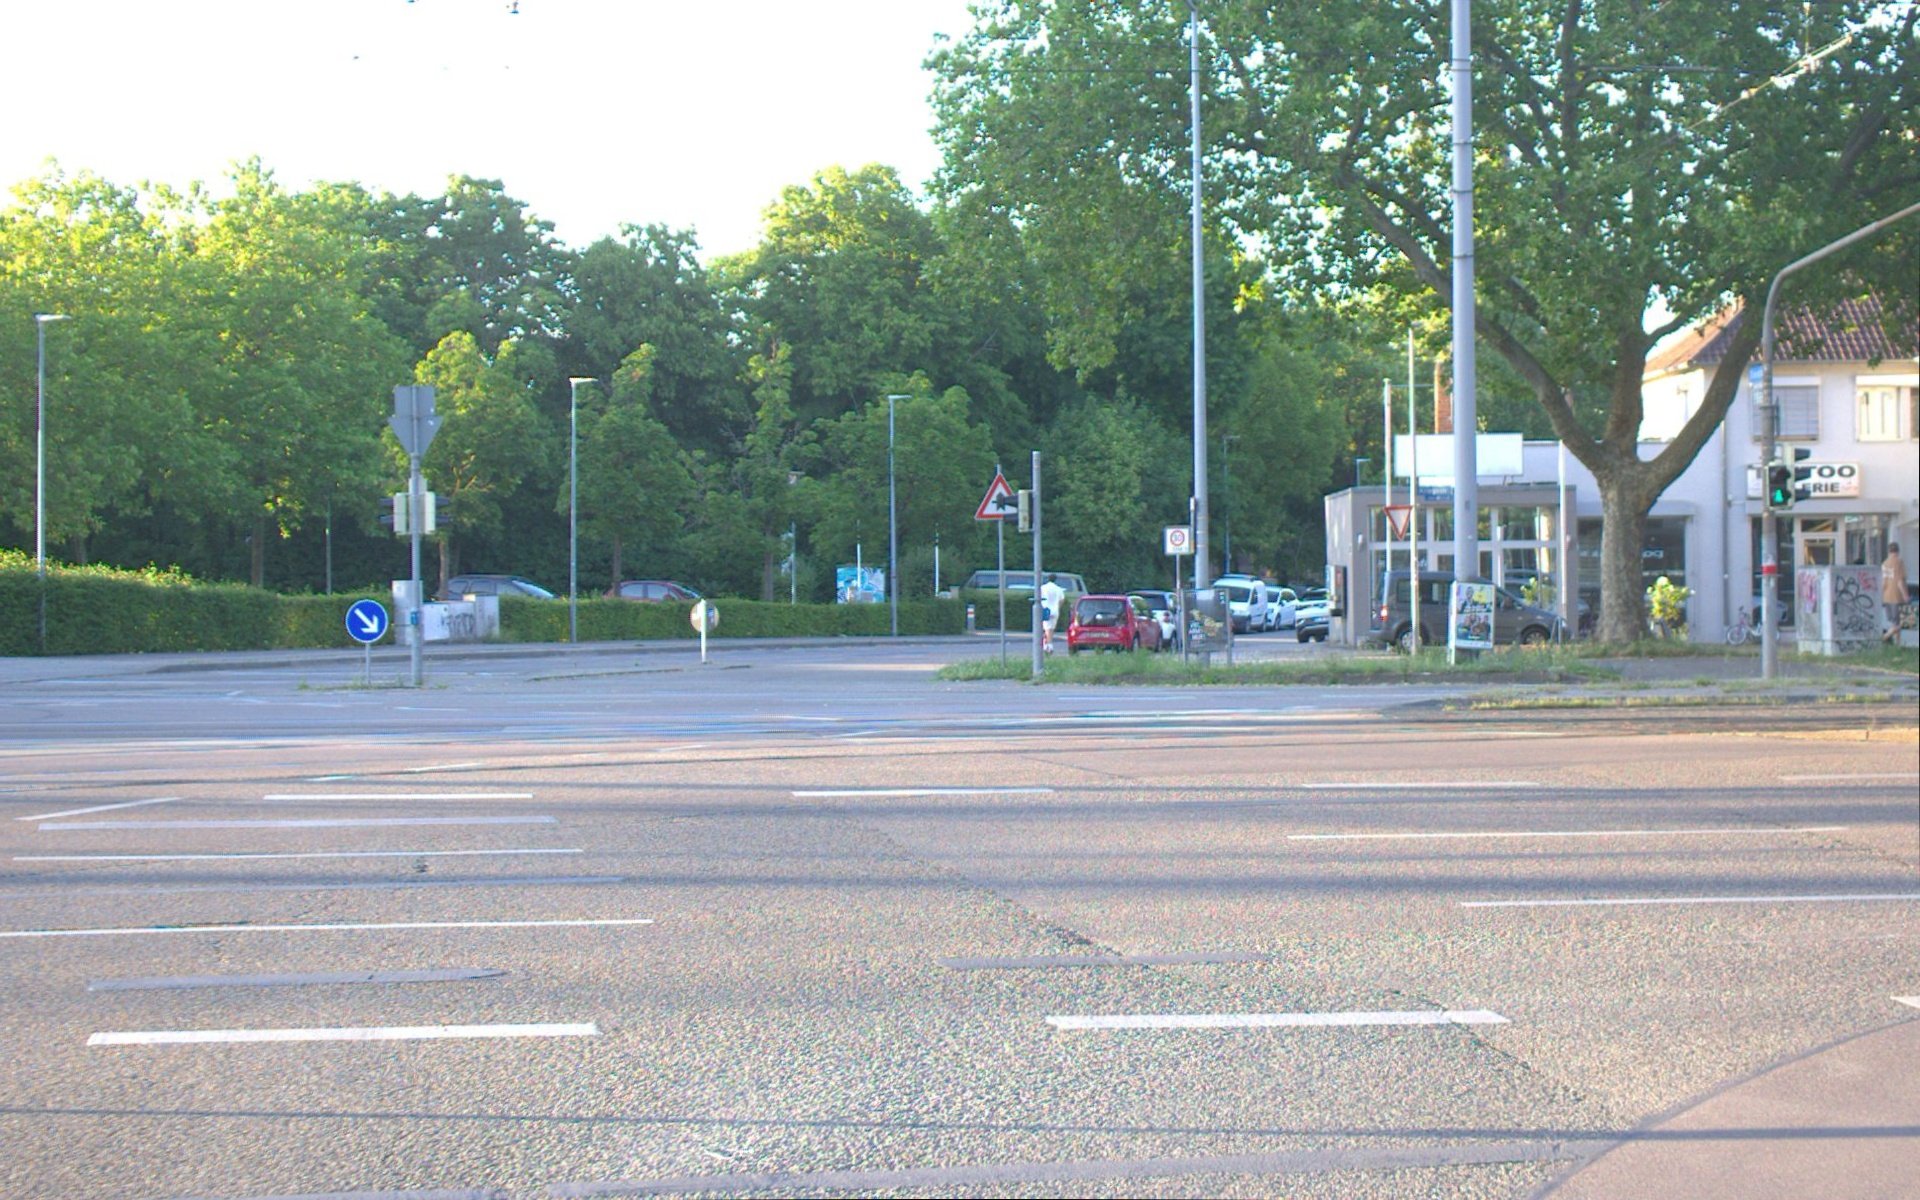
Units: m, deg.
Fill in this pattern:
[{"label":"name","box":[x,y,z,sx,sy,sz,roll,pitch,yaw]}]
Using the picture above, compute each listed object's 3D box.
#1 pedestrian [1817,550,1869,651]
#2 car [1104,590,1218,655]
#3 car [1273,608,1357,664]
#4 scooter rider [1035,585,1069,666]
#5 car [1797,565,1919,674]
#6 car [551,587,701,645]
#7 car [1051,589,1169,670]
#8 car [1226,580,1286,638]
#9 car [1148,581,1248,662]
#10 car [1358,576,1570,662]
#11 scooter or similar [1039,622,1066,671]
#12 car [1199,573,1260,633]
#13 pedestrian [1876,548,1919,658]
[{"label":"pedestrian","box":[14.383,0.006,55.961,0.719,1.633,0.896,0,0,20]},{"label":"car","box":[5.040,0.539,85.693,1.995,1.568,3.997,0,0,16]},{"label":"car","box":[10.518,1.052,101.572,1.916,1.597,3.997,0,0,14]},{"label":"scooter rider","box":[2.111,0.591,78.794,0.702,1.849,0.669,0,-1,-4]},{"label":"car","box":[16.819,0.319,59.319,4.230,1.840,2.000,0,0,-1]},{"label":"car","box":[-9.204,0.425,94.904,3.986,1.555,2.000,0,0,-2]},{"label":"car","box":[3.602,0.680,81.832,1.870,1.868,3.871,0,0,17]},{"label":"car","box":[10.504,0.297,122.348,1.994,2.007,4.000,-1,0,3]},{"label":"car","box":[6.234,0.543,89.590,1.916,2.040,3.997,0,0,14]},{"label":"car","box":[11.044,0.414,75.498,4.377,1.828,1.949,-1,0,1]},{"label":"scooter or similar","box":[2.121,1.065,78.842,0.510,1.086,1.243,0,0,-4]},{"label":"car","box":[9.209,0.098,117.687,1.994,2.007,4.000,-1,0,3]},{"label":"pedestrian","box":[15.054,0.048,54.891,0.719,1.748,0.896,0,0,20]}]
